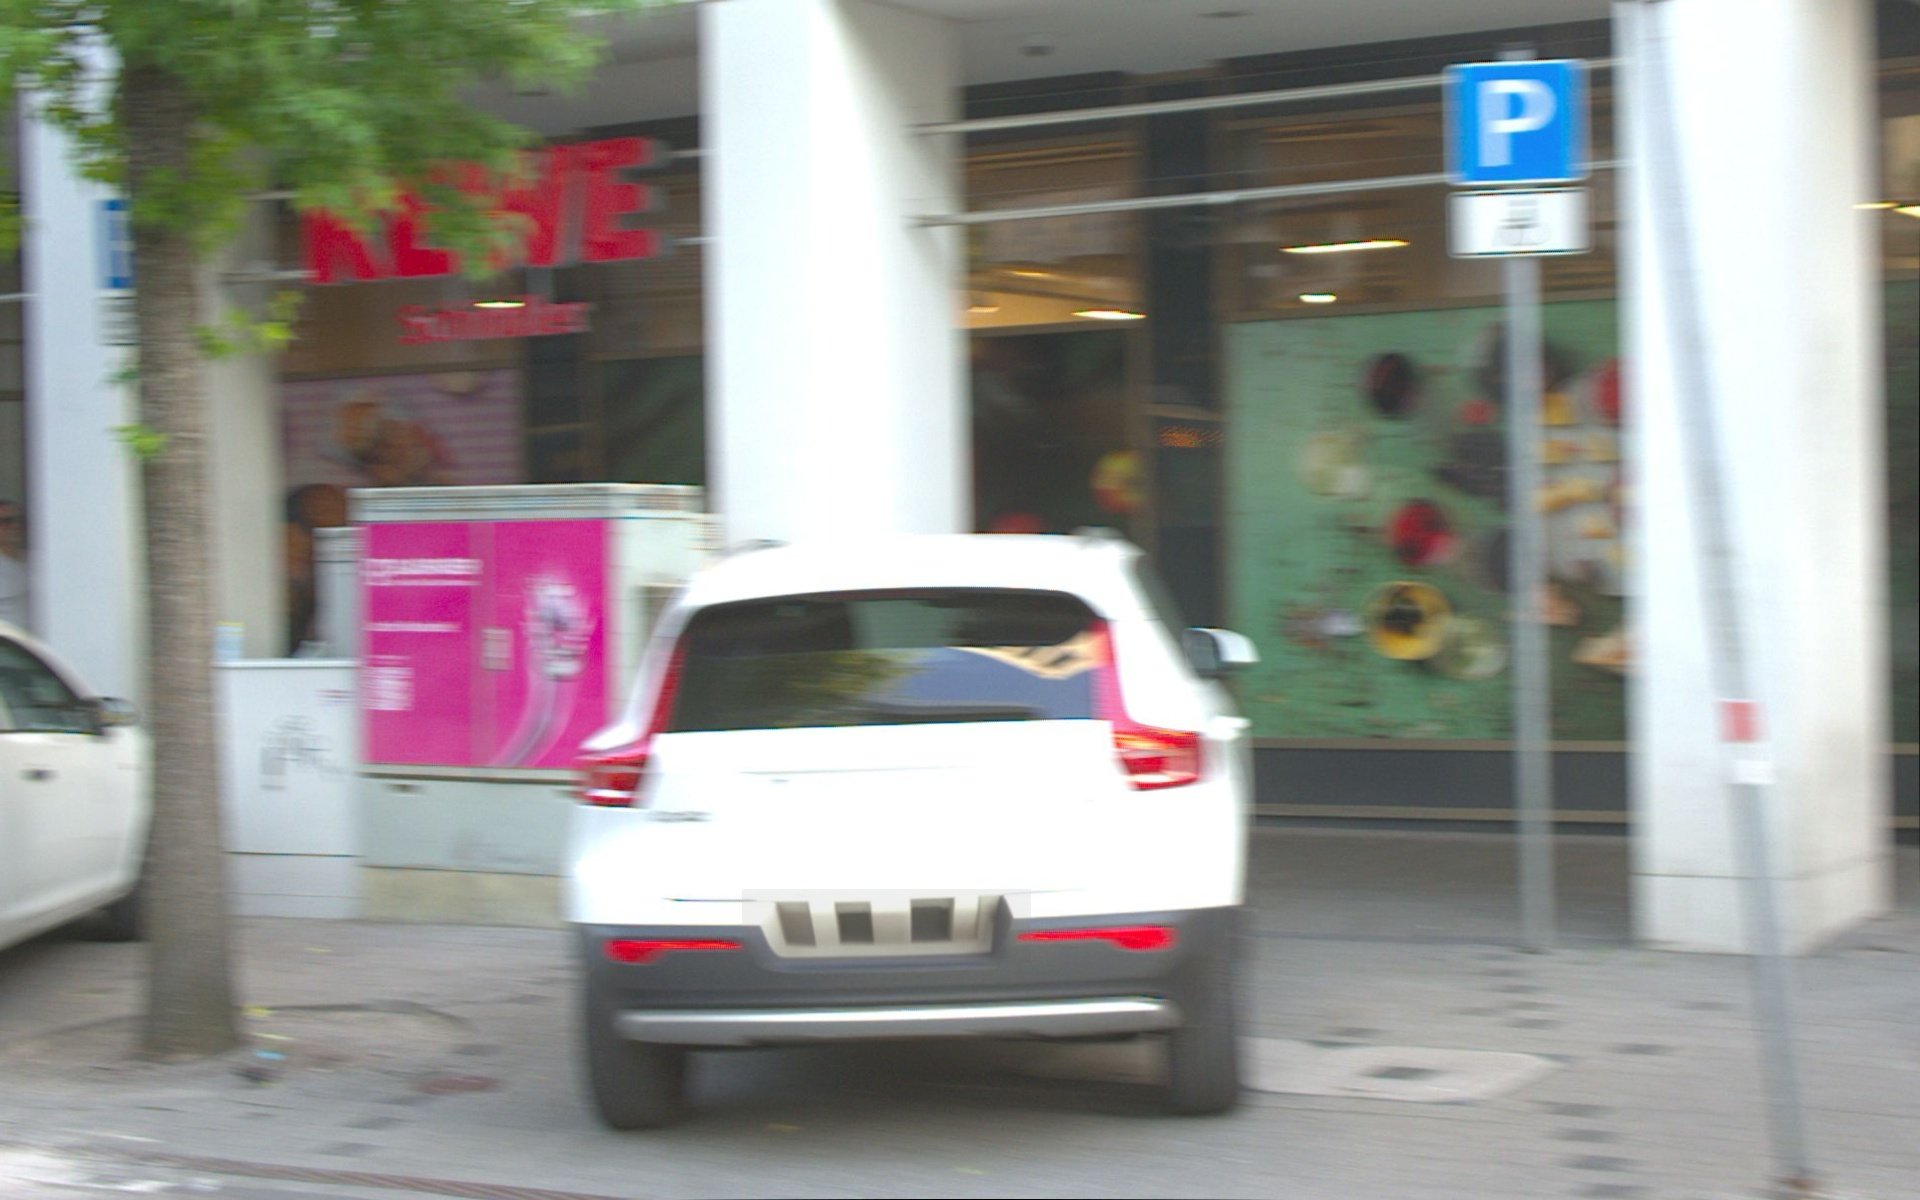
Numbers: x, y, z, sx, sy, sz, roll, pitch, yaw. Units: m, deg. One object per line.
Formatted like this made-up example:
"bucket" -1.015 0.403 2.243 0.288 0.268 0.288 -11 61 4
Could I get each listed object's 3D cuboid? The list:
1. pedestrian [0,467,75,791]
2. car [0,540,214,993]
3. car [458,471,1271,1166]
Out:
"pedestrian" -5.350 0.152 19.103 0.679 1.765 0.806 0 1 -25
"car" -4.268 0.621 13.076 1.790 1.496 4.069 -2 3 2
"car" -0.062 0.498 10.978 1.946 1.666 4.272 -3 3 6
